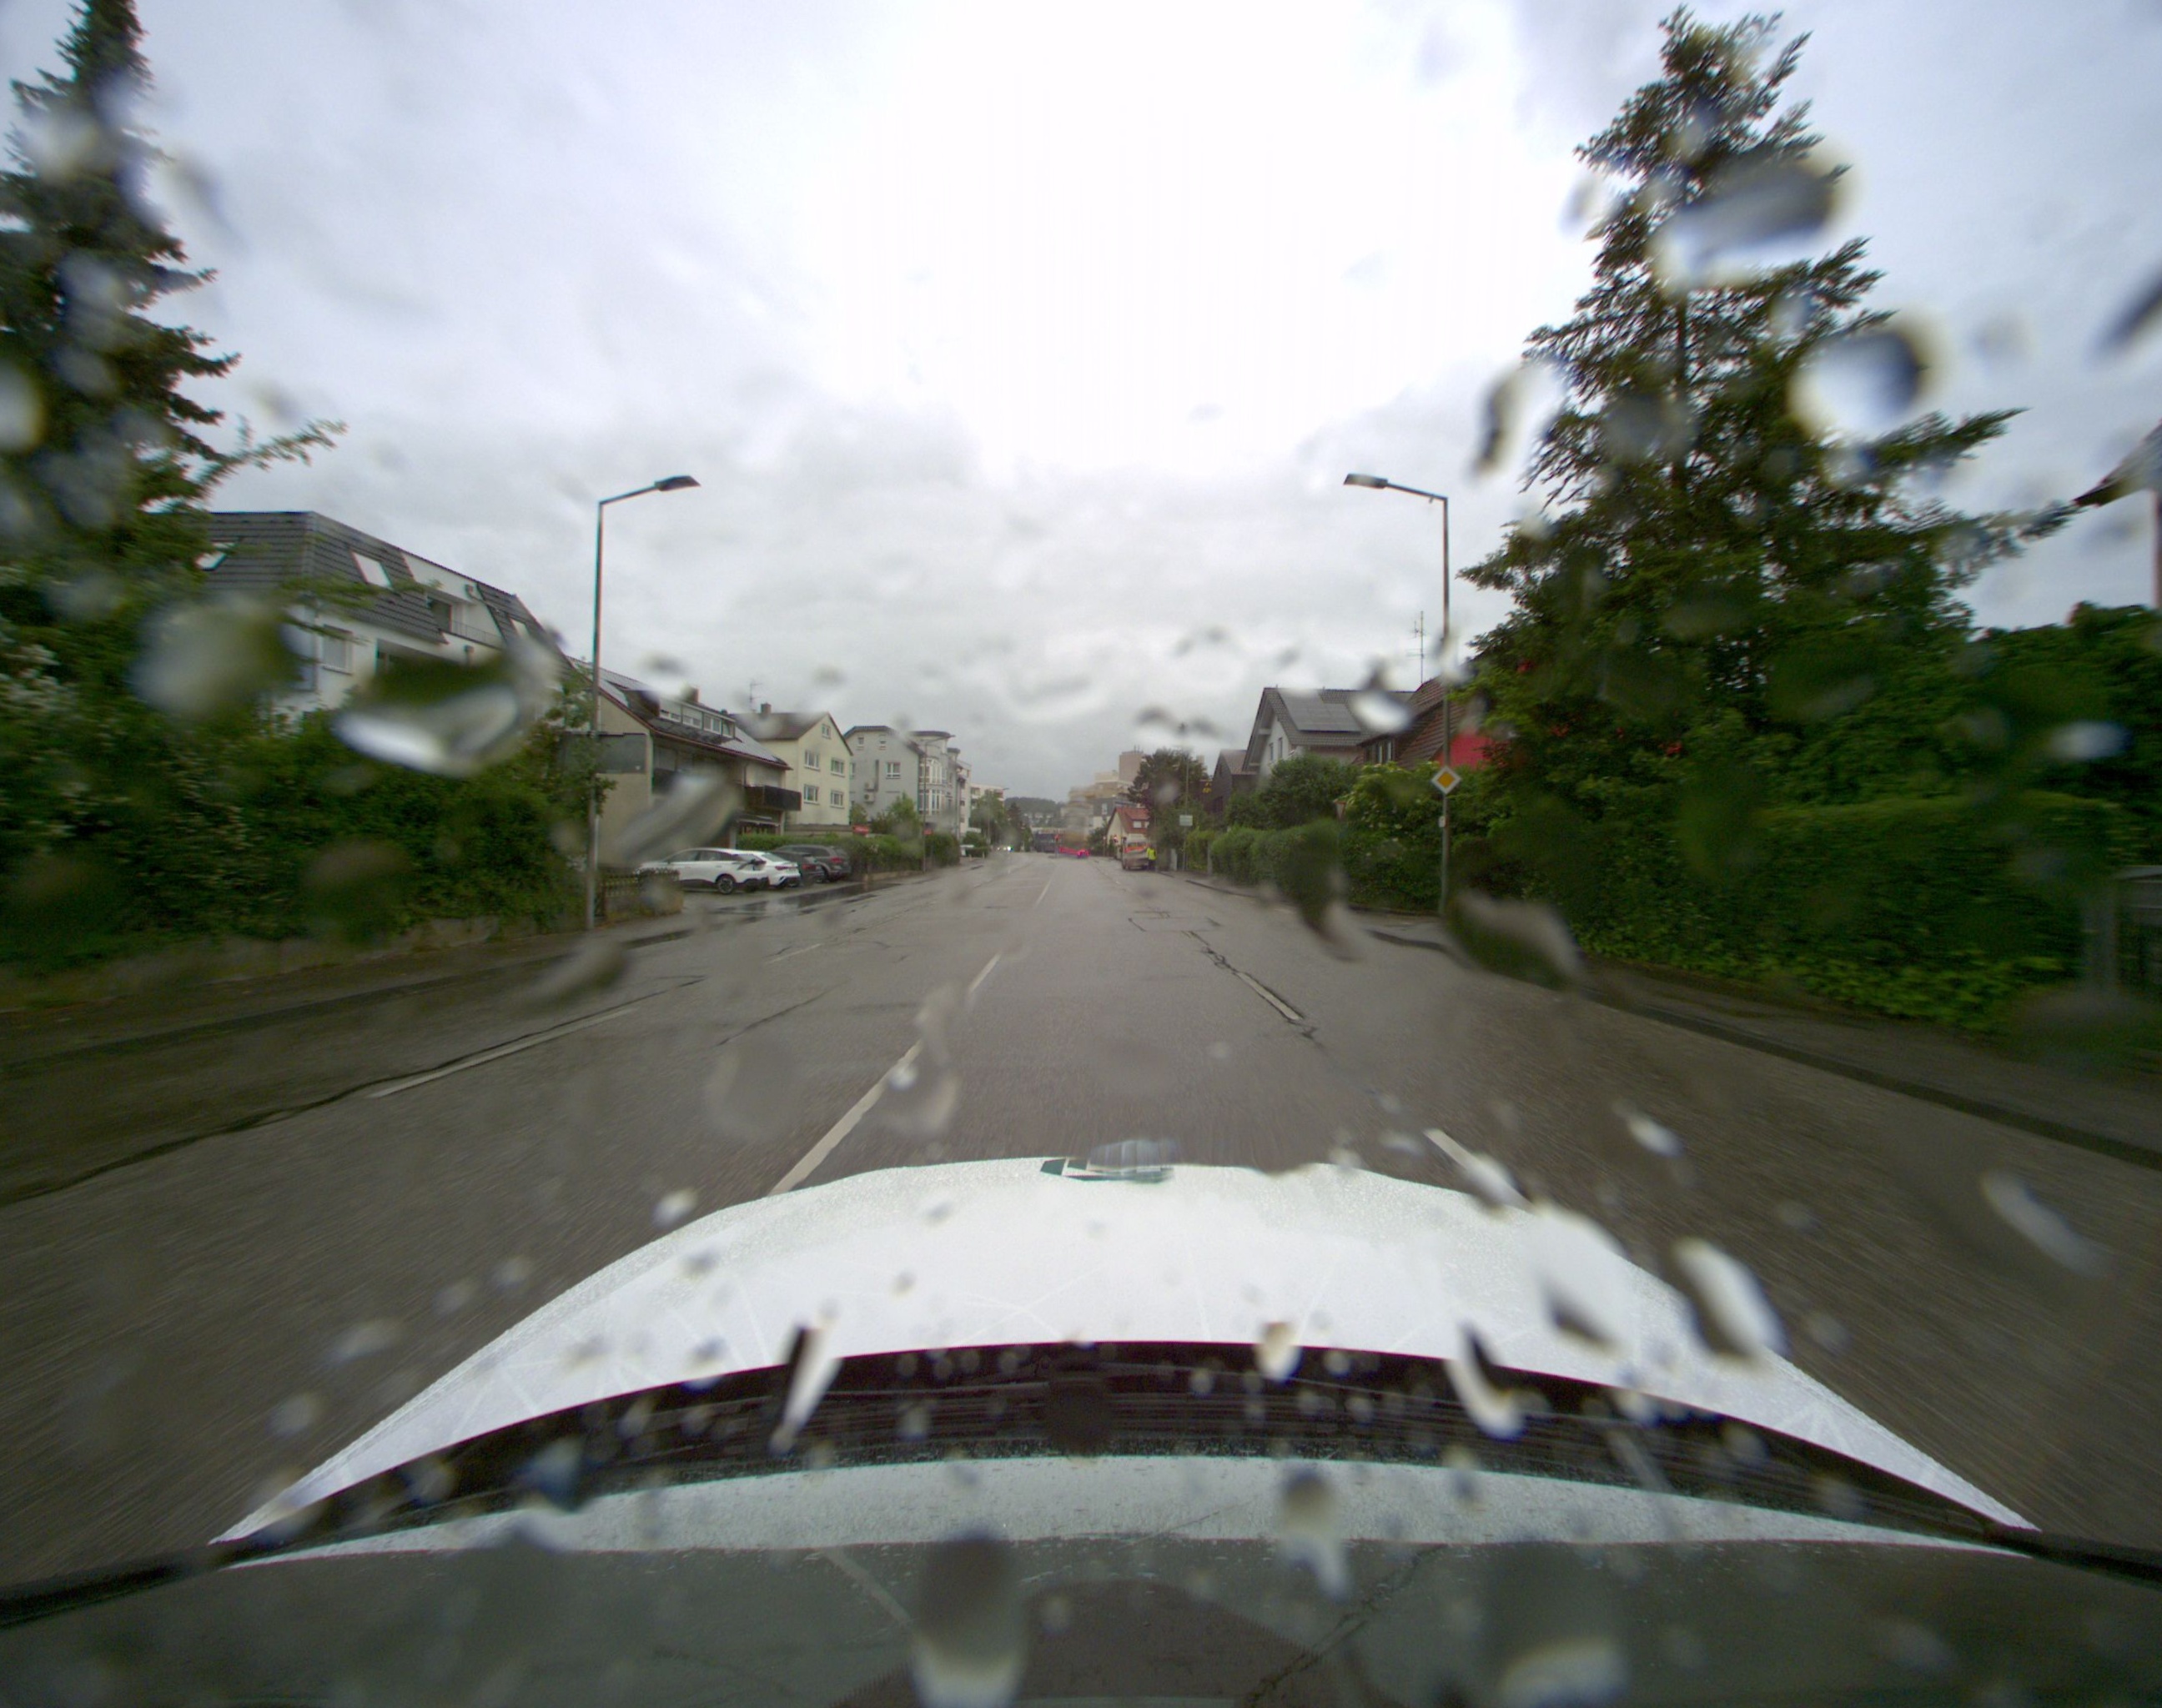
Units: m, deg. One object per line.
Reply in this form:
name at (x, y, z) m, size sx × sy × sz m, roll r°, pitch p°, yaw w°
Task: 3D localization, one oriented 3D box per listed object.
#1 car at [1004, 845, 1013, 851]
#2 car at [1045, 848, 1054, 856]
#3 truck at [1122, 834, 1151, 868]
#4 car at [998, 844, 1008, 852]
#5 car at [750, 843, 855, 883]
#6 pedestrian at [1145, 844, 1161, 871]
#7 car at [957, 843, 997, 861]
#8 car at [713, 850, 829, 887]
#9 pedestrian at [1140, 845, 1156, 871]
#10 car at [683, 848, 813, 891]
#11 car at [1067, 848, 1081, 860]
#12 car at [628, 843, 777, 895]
car at (-15.907, -1.260, 178.916) m, size 1.433 × 1.235 × 3.999 m, roll 2°, pitch 0°, yaw 0°
car at (-6.404, -0.451, 167.662) m, size 1.574 × 1.438 × 3.999 m, roll 5°, pitch -1°, yaw 0°
truck at (3.933, -0.196, 58.259) m, size 1.985 × 2.303 × 4.004 m, roll 0°, pitch 0°, yaw 3°
car at (-16.433, -1.256, 171.262) m, size 1.654 × 1.463 × 3.999 m, roll 5°, pitch -1°, yaw 0°
car at (-12.368, 0.400, 36.280) m, size 3.964 × 1.686 × 1.813 m, roll 0°, pitch -1°, yaw 8°
pedestrian at (4.743, 0.222, 53.641) m, size 0.825 × 1.797 × 0.795 m, roll 0°, pitch 0°, yaw -19°
car at (-13.043, -0.263, 102.653) m, size 4.490 × 2.013 × 2.007 m, roll 2°, pitch 0°, yaw 13°
car at (-12.461, 0.563, 32.847) m, size 3.966 × 1.446 × 1.709 m, roll 0°, pitch -1°, yaw 6°
pedestrian at (4.474, 0.249, 54.473) m, size 0.825 × 1.726 × 0.836 m, roll 0°, pitch 0°, yaw -18°
car at (-12.379, 0.563, 30.465) m, size 3.967 × 1.434 × 1.974 m, roll 2°, pitch 0°, yaw 5°
car at (-1.023, 0.046, 113.923) m, size 1.788 × 1.669 × 4.001 m, roll -1°, pitch 0°, yaw 1°
car at (-12.811, 0.494, 27.754) m, size 4.080 × 1.585 × 1.959 m, roll 2°, pitch -1°, yaw 4°
